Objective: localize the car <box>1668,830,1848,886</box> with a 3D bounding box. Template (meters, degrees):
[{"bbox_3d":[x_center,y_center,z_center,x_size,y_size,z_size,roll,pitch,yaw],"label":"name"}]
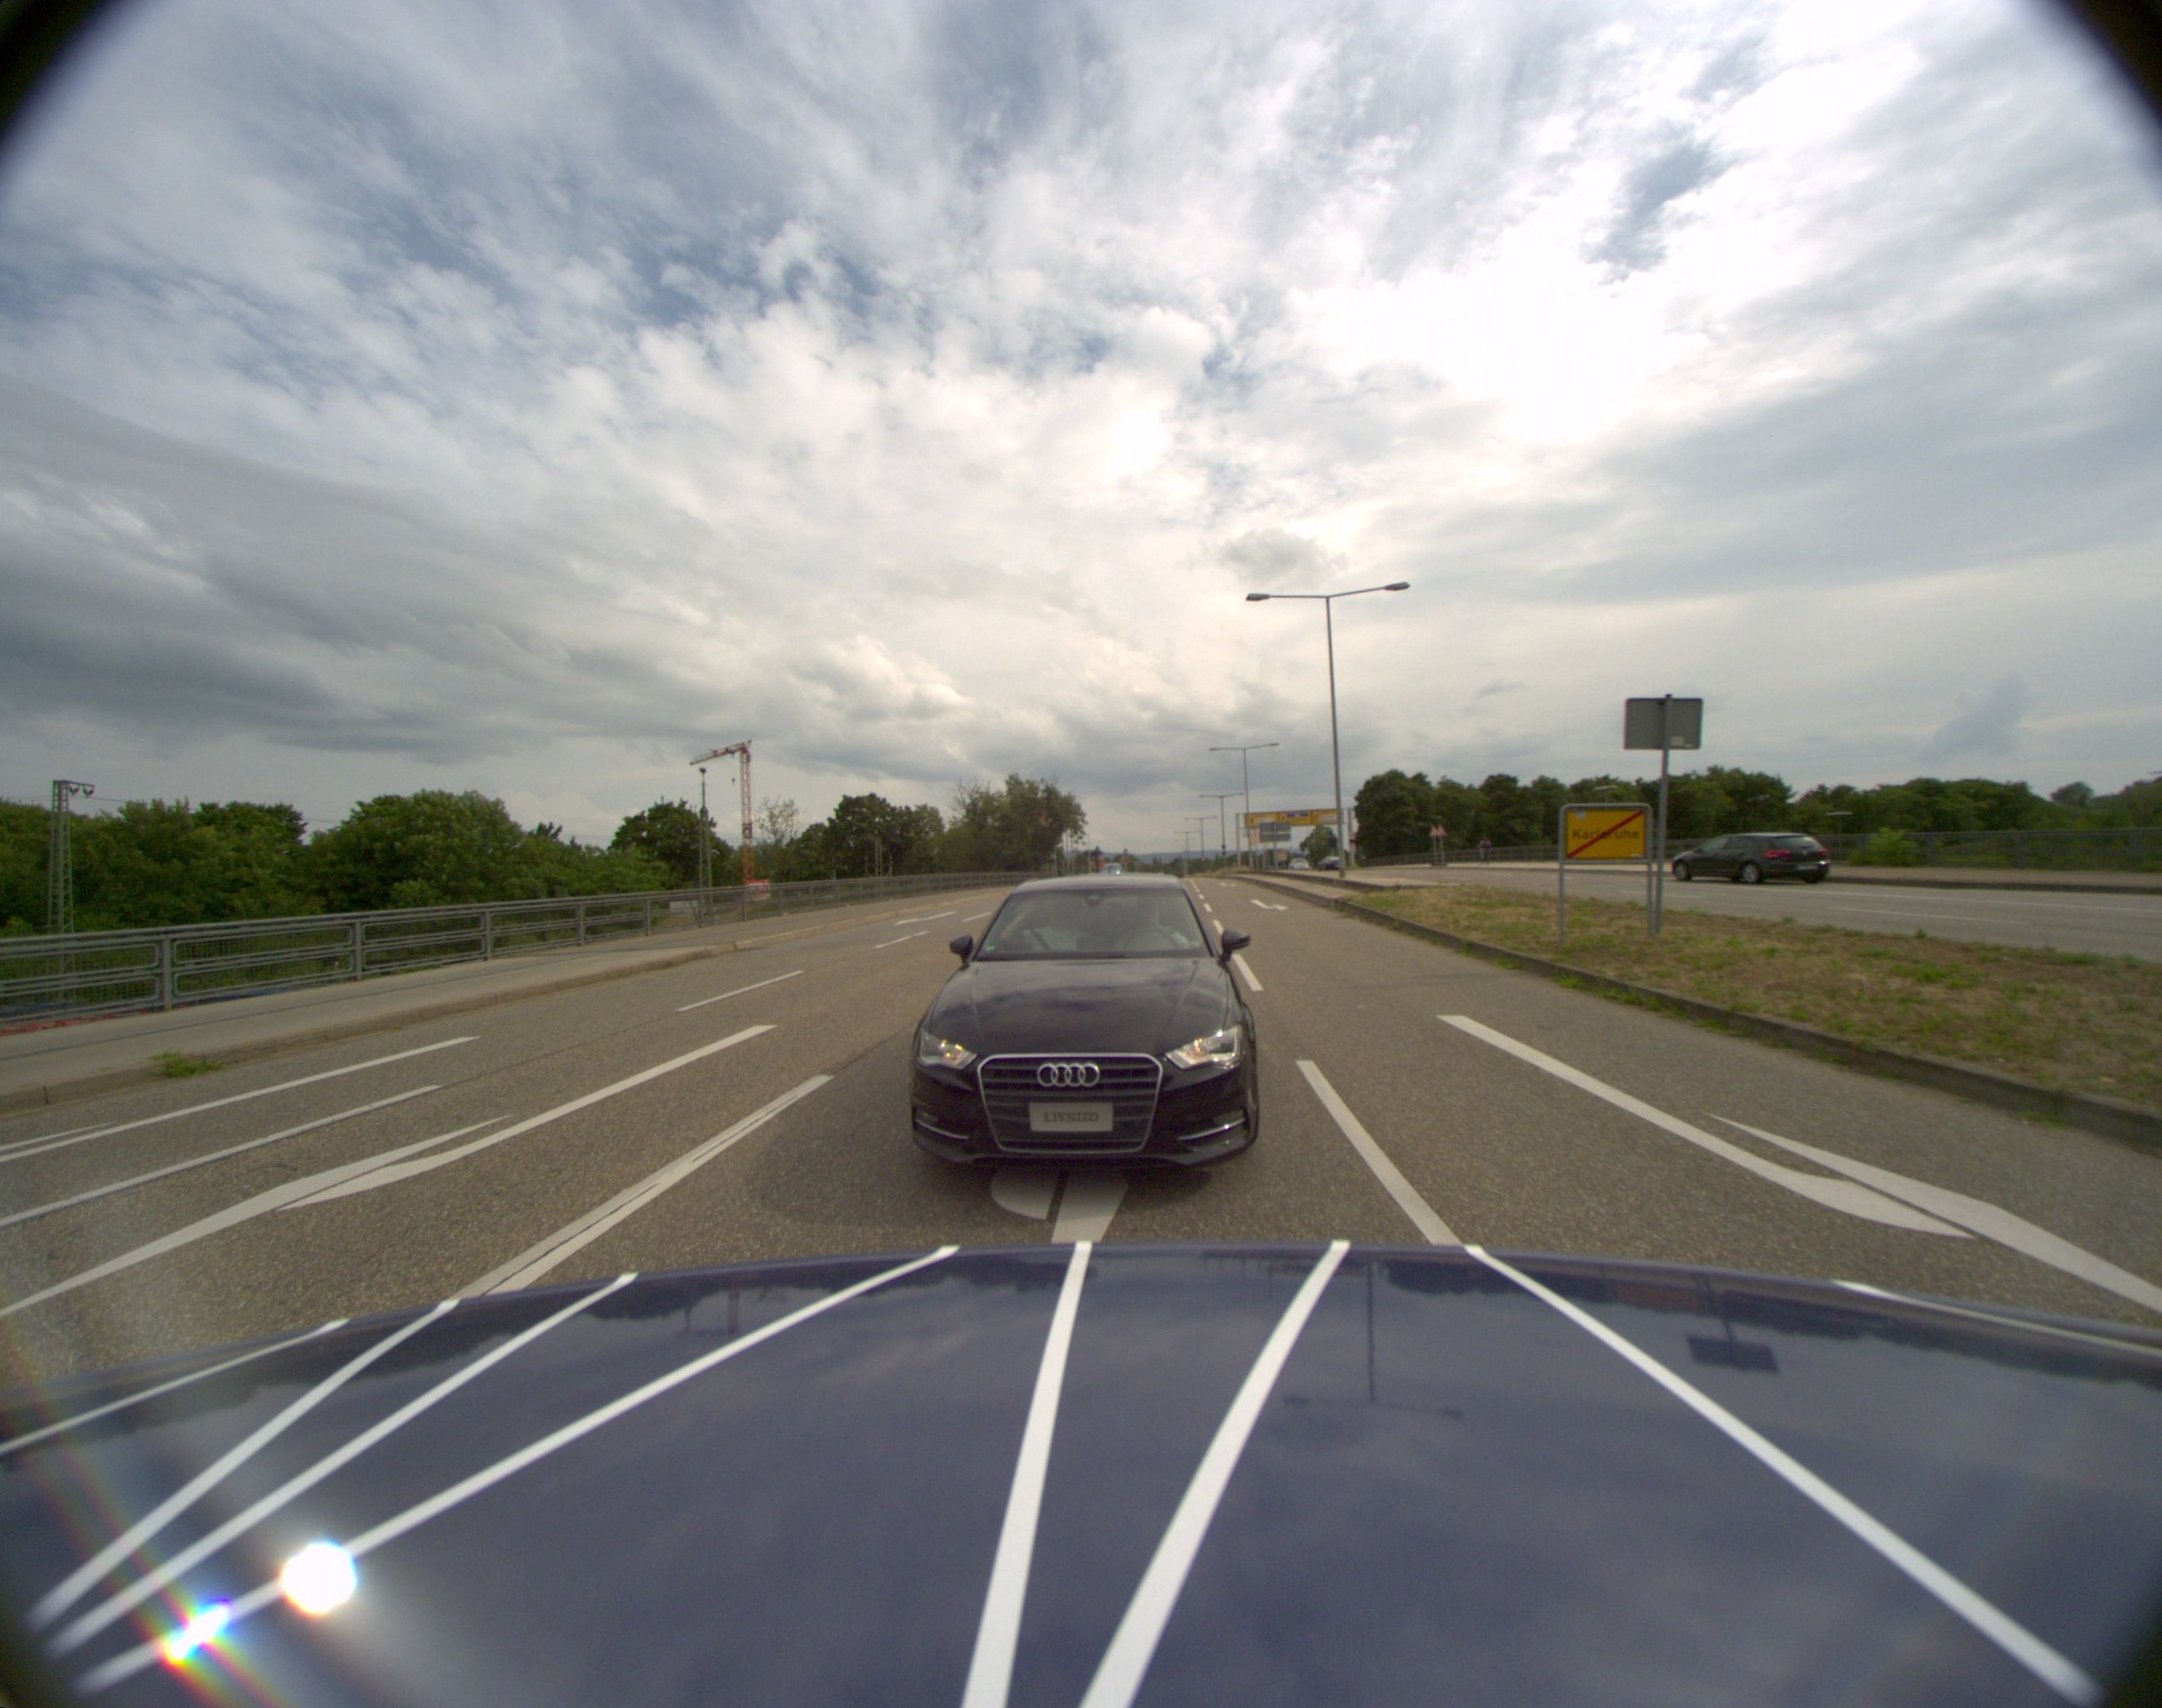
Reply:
[{"bbox_3d":[19.581,0.101,22.249,1.796,1.410,4.001,-2,0,3],"label":"car"}]

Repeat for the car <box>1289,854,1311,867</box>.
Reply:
[{"bbox_3d":[23.587,0.687,81.803,1.619,1.402,3.862,-1,0,6],"label":"car"}]

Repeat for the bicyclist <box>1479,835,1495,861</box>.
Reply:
[{"bbox_3d":[26.889,-0.409,50.343,0.685,1.662,0.848,-3,0,11],"label":"bicyclist"}]

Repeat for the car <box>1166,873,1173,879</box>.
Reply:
[{"bbox_3d":[23.317,5.851,200.393,1.860,1.335,4.002,-2,0,7],"label":"car"}]

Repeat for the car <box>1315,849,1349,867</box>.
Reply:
[{"bbox_3d":[22.169,0.313,67.160,1.825,1.438,4.354,-2,0,5],"label":"car"}]

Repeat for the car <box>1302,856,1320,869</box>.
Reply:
[{"bbox_3d":[31.439,1.098,103.889,1.743,1.649,4.086,-1,0,26],"label":"car"}]

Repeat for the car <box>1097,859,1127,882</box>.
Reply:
[{"bbox_3d":[2.432,1.255,58.813,1.724,1.512,3.952,-4,0,9],"label":"car"}]

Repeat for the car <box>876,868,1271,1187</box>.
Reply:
[{"bbox_3d":[0.219,0.886,5.982,1.851,1.355,4.731,-2,0,7],"label":"car"}]

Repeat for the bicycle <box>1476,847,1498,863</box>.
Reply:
[{"bbox_3d":[26.905,0.073,50.395,0.685,1.047,1.996,-3,0,11],"label":"bicycle"}]

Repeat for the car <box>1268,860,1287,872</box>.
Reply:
[{"bbox_3d":[25.162,1.528,97.286,1.745,1.402,3.878,-1,0,5],"label":"car"}]

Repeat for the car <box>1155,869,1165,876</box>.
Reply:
[{"bbox_3d":[15.927,3.718,152.645,1.860,1.335,4.002,-2,0,7],"label":"car"}]
